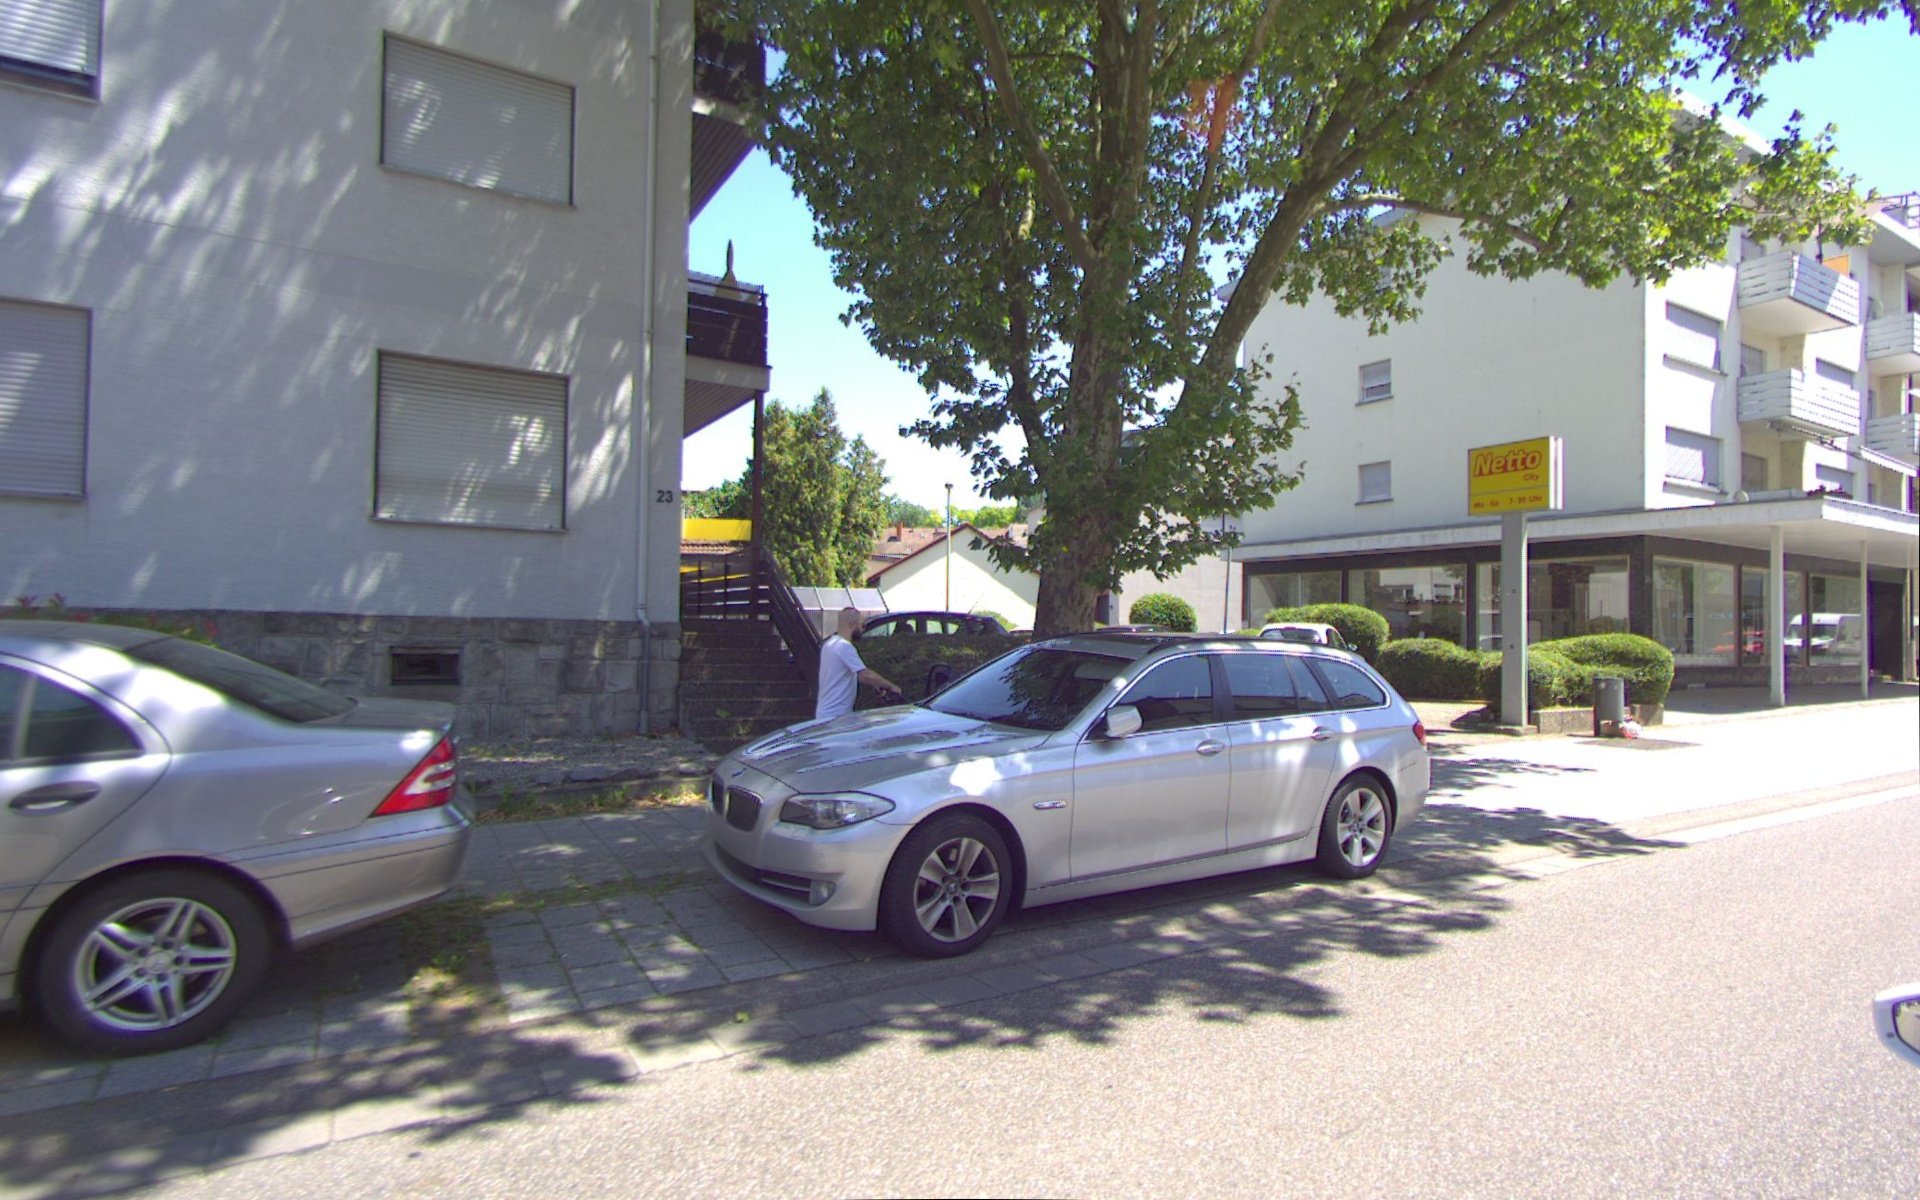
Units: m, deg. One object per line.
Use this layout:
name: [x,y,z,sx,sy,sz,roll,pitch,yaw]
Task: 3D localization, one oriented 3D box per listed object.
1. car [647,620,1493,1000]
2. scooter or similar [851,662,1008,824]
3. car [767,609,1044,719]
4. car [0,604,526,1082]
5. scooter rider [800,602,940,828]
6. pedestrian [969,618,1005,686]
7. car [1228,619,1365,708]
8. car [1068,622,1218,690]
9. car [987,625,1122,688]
car: [0.904,0.901,6.193,5.094,1.471,1.970,1,-1,-32]
scooter or similar: [-0.243,1.064,7.804,1.016,1.113,0.660,1,1,-30]
car: [-0.888,0.975,15.808,4.041,1.565,1.805,1,-2,-19]
car: [-4.250,0.744,3.469,4.815,1.471,1.970,1,-1,-32]
scooter rider: [-0.686,0.828,7.627,0.867,1.596,0.585,1,1,-30]
pedestrian: [0.678,1.284,25.051,0.704,1.648,0.685,0,-1,18]
car: [6.569,1.149,19.357,1.863,1.506,3.990,0,-2,28]
car: [4.405,1.295,23.867,1.726,1.481,3.909,-2,-3,42]
car: [2.463,1.400,25.398,1.746,1.453,4.026,-2,-3,33]
